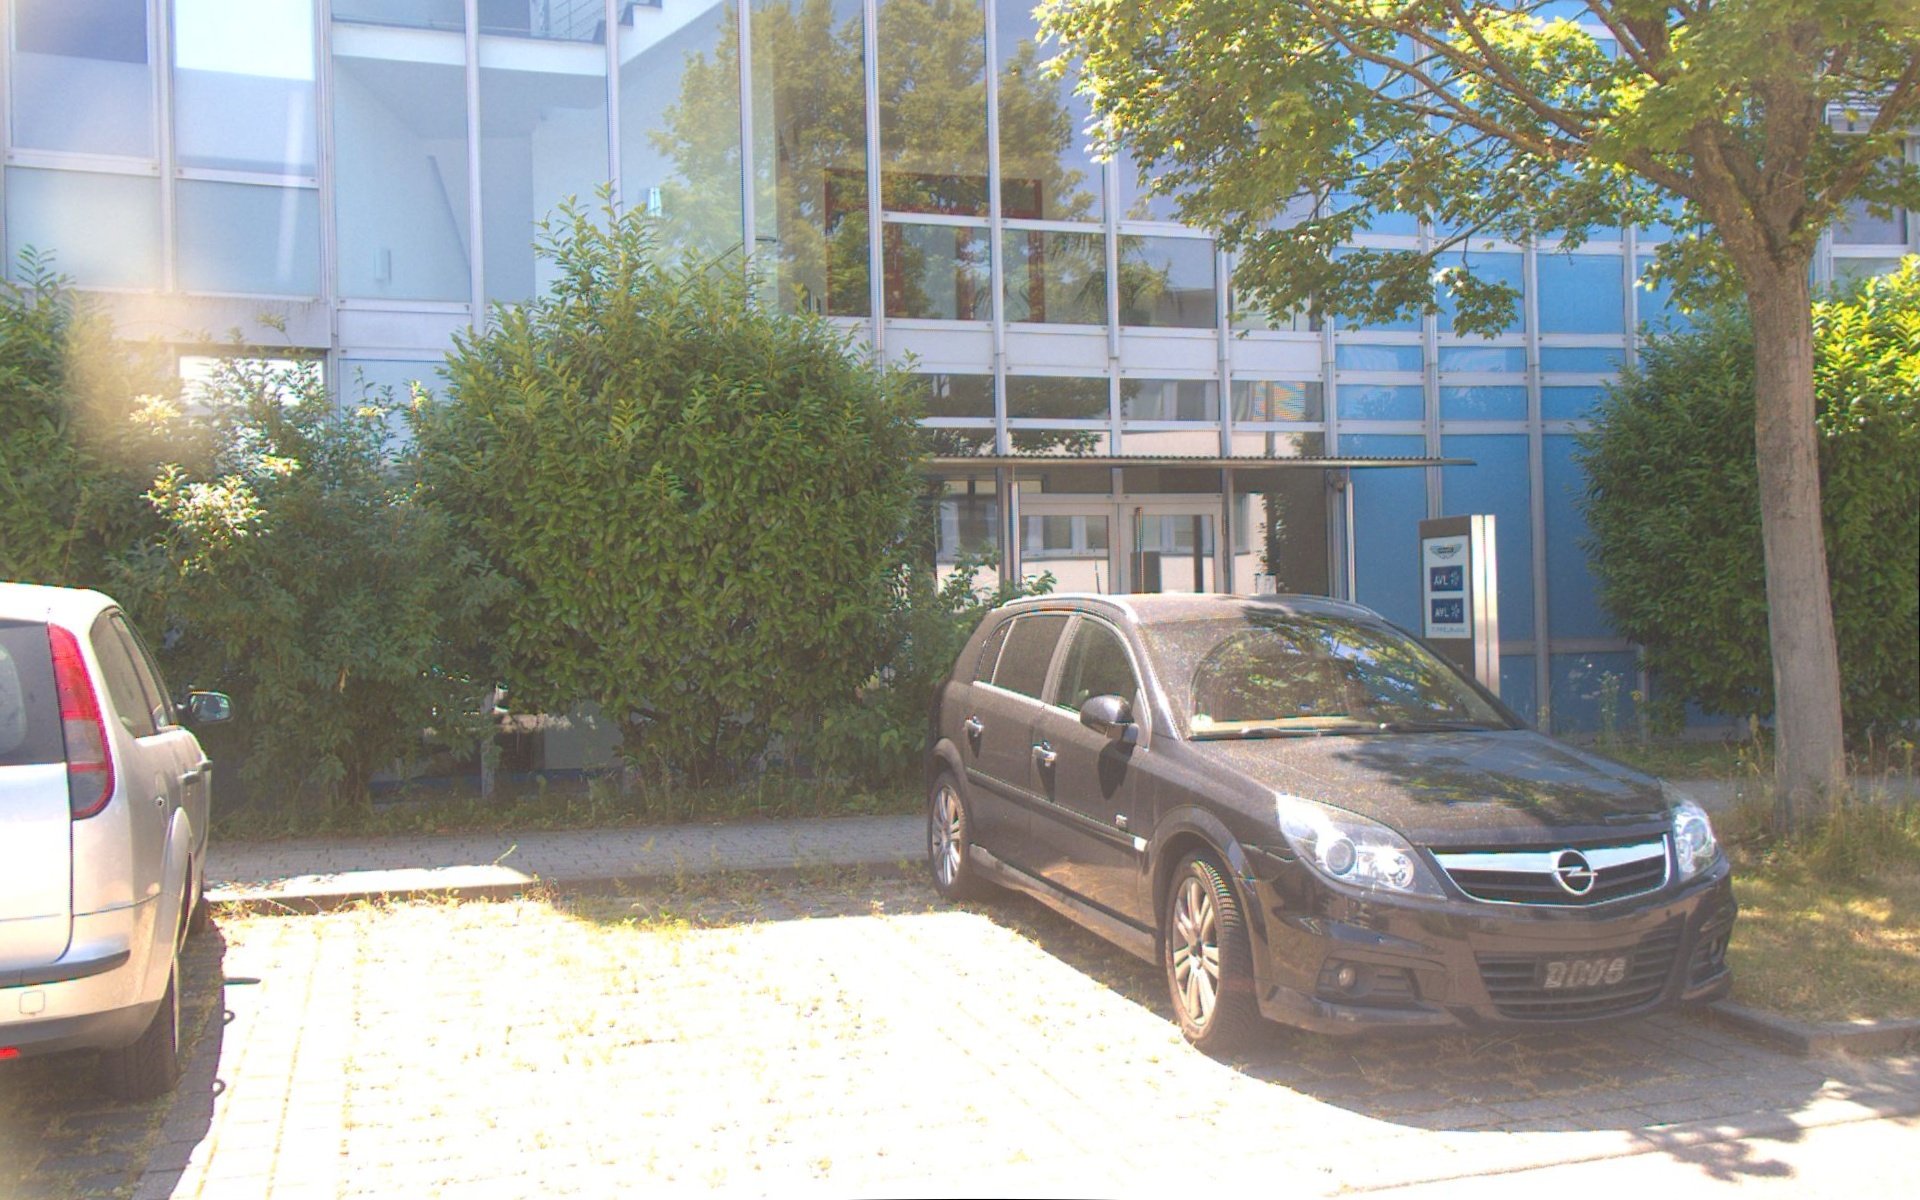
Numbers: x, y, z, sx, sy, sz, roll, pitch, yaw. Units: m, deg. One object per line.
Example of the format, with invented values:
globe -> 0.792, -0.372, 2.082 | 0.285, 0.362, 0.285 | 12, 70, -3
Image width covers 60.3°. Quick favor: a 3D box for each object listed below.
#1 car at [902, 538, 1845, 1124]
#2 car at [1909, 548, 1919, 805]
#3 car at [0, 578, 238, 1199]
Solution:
car -> 1.178, 0.633, 6.895 | 1.730, 1.576, 4.543 | 0, 0, -17
car -> 7.642, 0.519, 8.993 | 1.821, 1.671, 4.315 | 0, 1, -15
car -> -3.492, 0.722, 5.683 | 1.695, 1.505, 4.320 | 0, 0, -22
